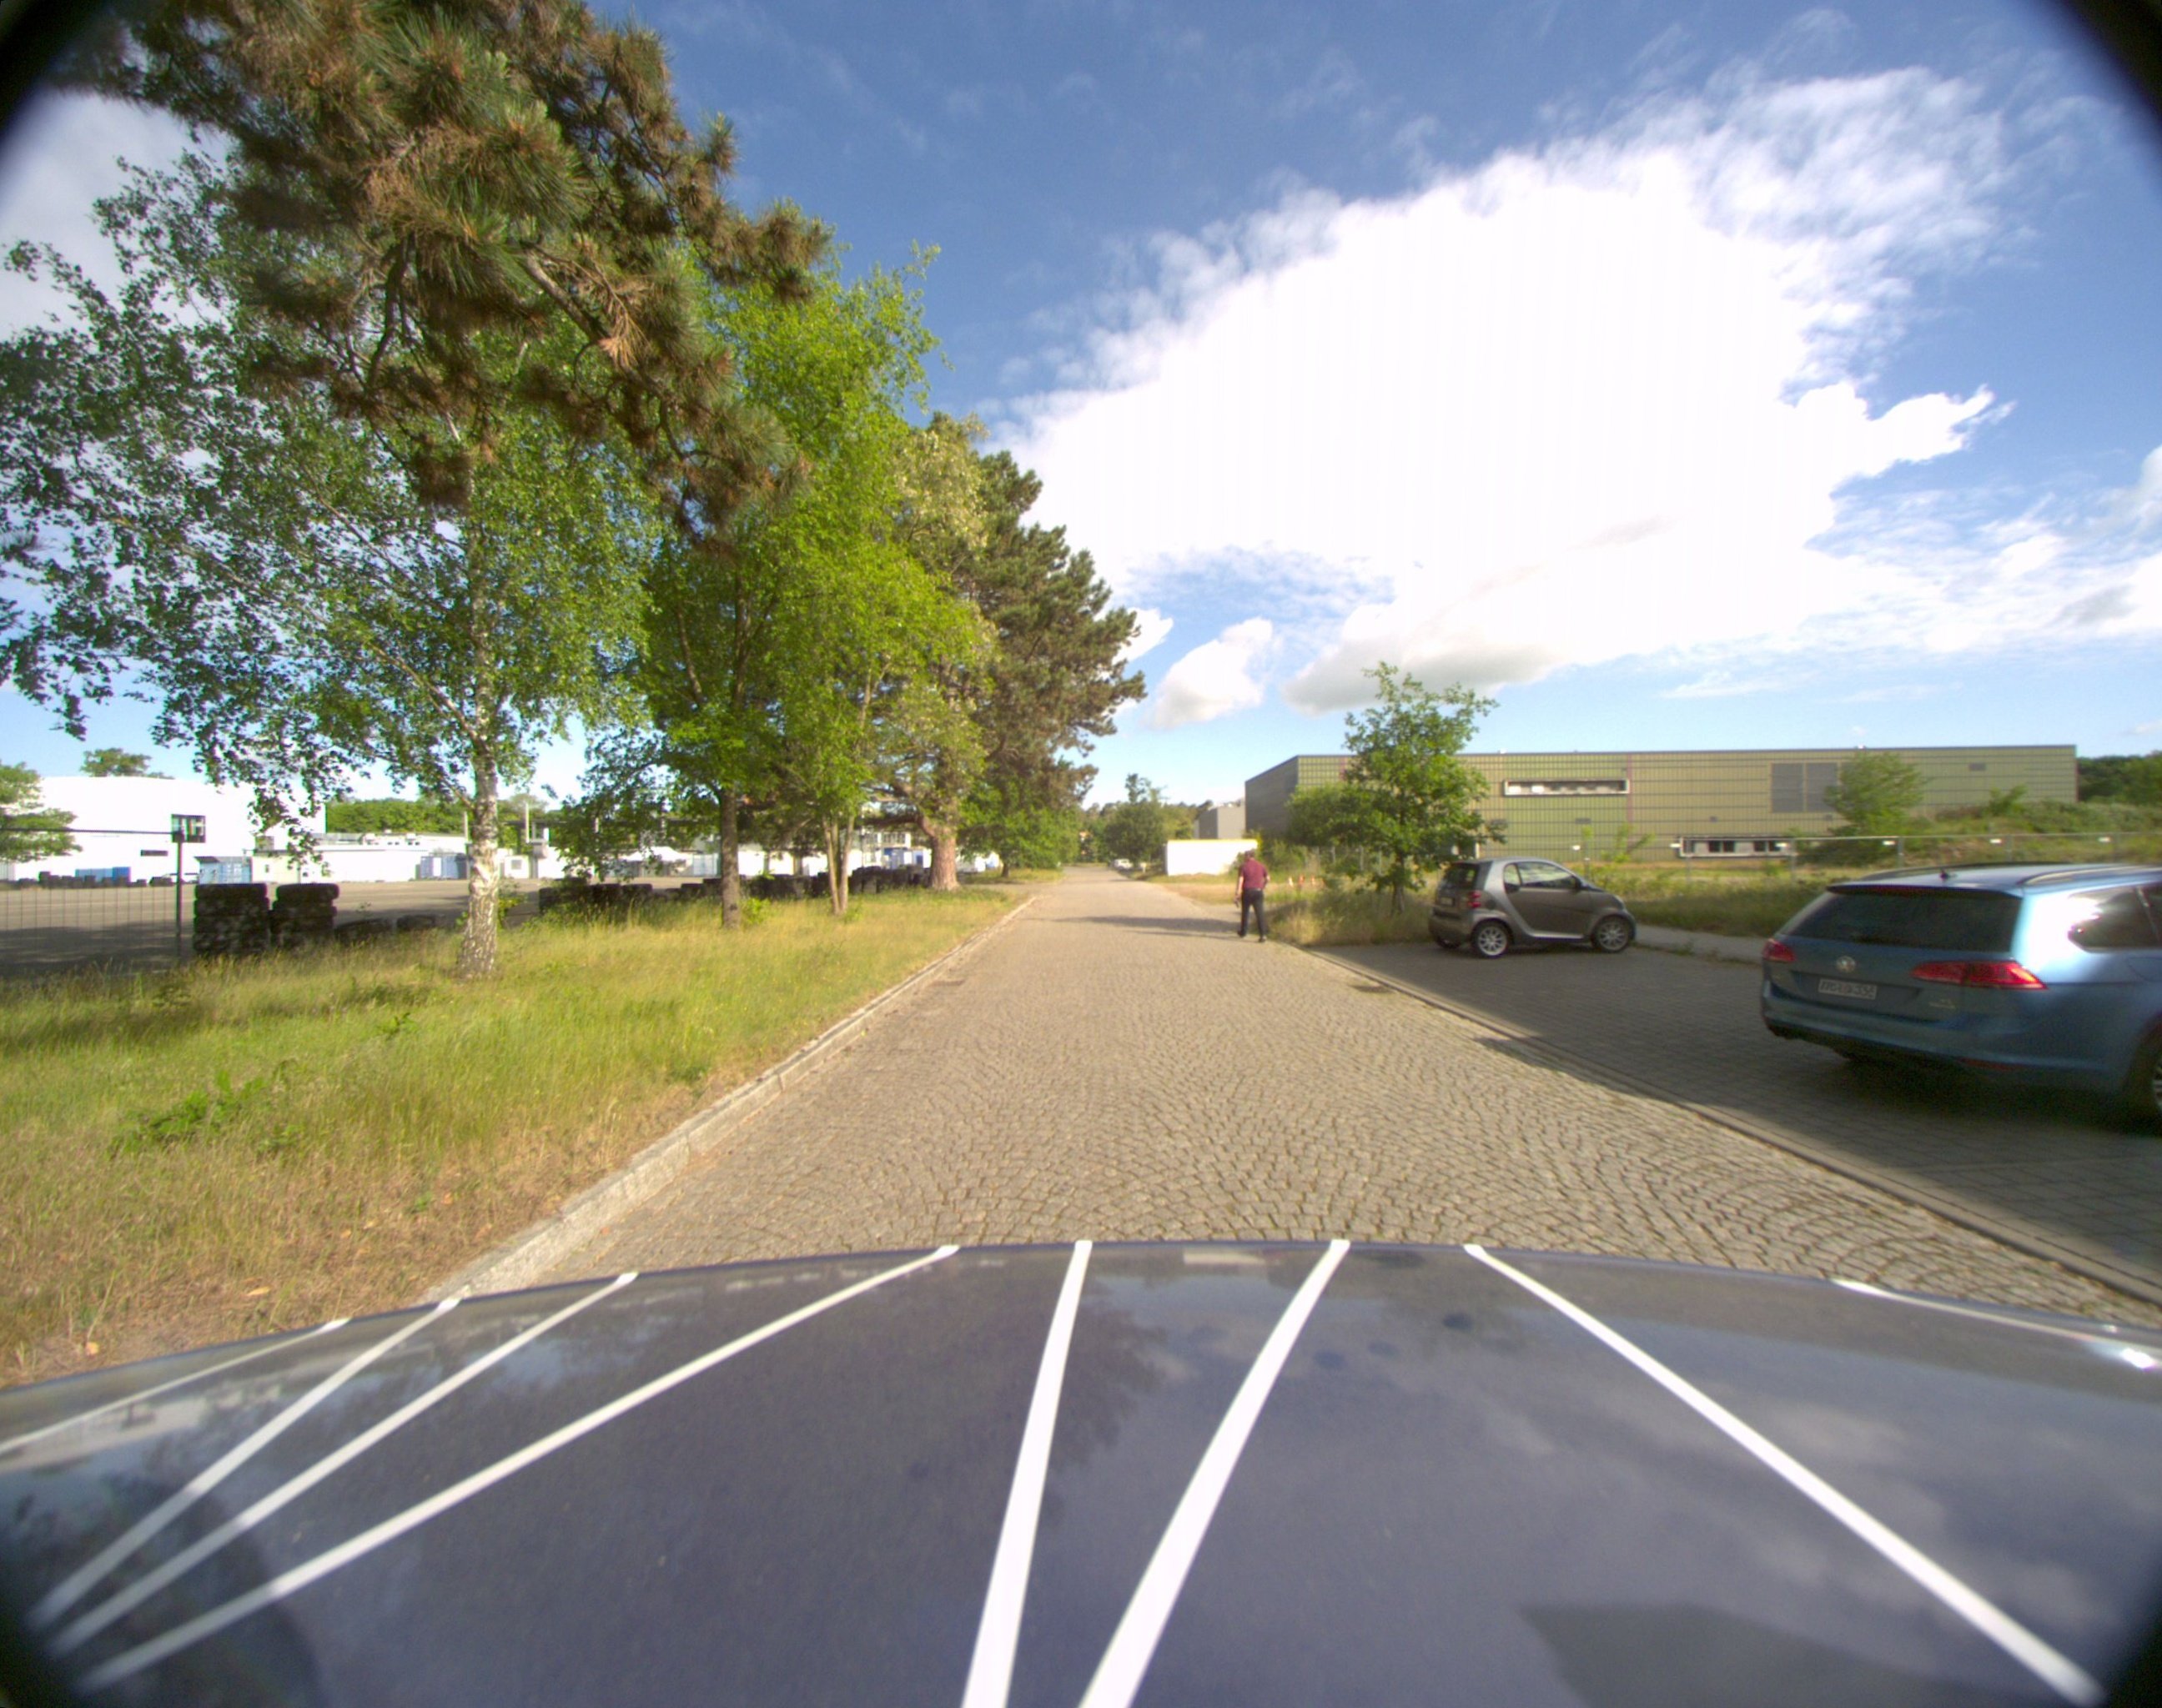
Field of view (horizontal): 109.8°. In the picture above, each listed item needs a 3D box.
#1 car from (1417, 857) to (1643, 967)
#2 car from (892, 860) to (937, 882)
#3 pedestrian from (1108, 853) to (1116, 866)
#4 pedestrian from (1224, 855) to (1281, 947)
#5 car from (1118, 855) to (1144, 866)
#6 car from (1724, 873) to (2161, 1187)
[{"bbox_3d":[7.122,0.882,12.236,2.705,1.533,1.518,-2,0,0],"label":"car"},{"bbox_3d":[-11.783,1.167,54.009,1.846,1.440,4.002,0,0,6],"label":"car"},{"bbox_3d":[4.233,0.749,104.254,0.908,1.796,0.983,-1,0,-6],"label":"pedestrian"},{"bbox_3d":[3.396,0.903,15.114,0.806,1.761,1.152,-1,0,-3],"label":"pedestrian"},{"bbox_3d":[7.893,1.093,119.554,3.996,1.678,2.001,-1,0,4],"label":"car"},{"bbox_3d":[6.939,0.918,4.845,4.268,1.455,1.681,-3,0,-2],"label":"car"}]
